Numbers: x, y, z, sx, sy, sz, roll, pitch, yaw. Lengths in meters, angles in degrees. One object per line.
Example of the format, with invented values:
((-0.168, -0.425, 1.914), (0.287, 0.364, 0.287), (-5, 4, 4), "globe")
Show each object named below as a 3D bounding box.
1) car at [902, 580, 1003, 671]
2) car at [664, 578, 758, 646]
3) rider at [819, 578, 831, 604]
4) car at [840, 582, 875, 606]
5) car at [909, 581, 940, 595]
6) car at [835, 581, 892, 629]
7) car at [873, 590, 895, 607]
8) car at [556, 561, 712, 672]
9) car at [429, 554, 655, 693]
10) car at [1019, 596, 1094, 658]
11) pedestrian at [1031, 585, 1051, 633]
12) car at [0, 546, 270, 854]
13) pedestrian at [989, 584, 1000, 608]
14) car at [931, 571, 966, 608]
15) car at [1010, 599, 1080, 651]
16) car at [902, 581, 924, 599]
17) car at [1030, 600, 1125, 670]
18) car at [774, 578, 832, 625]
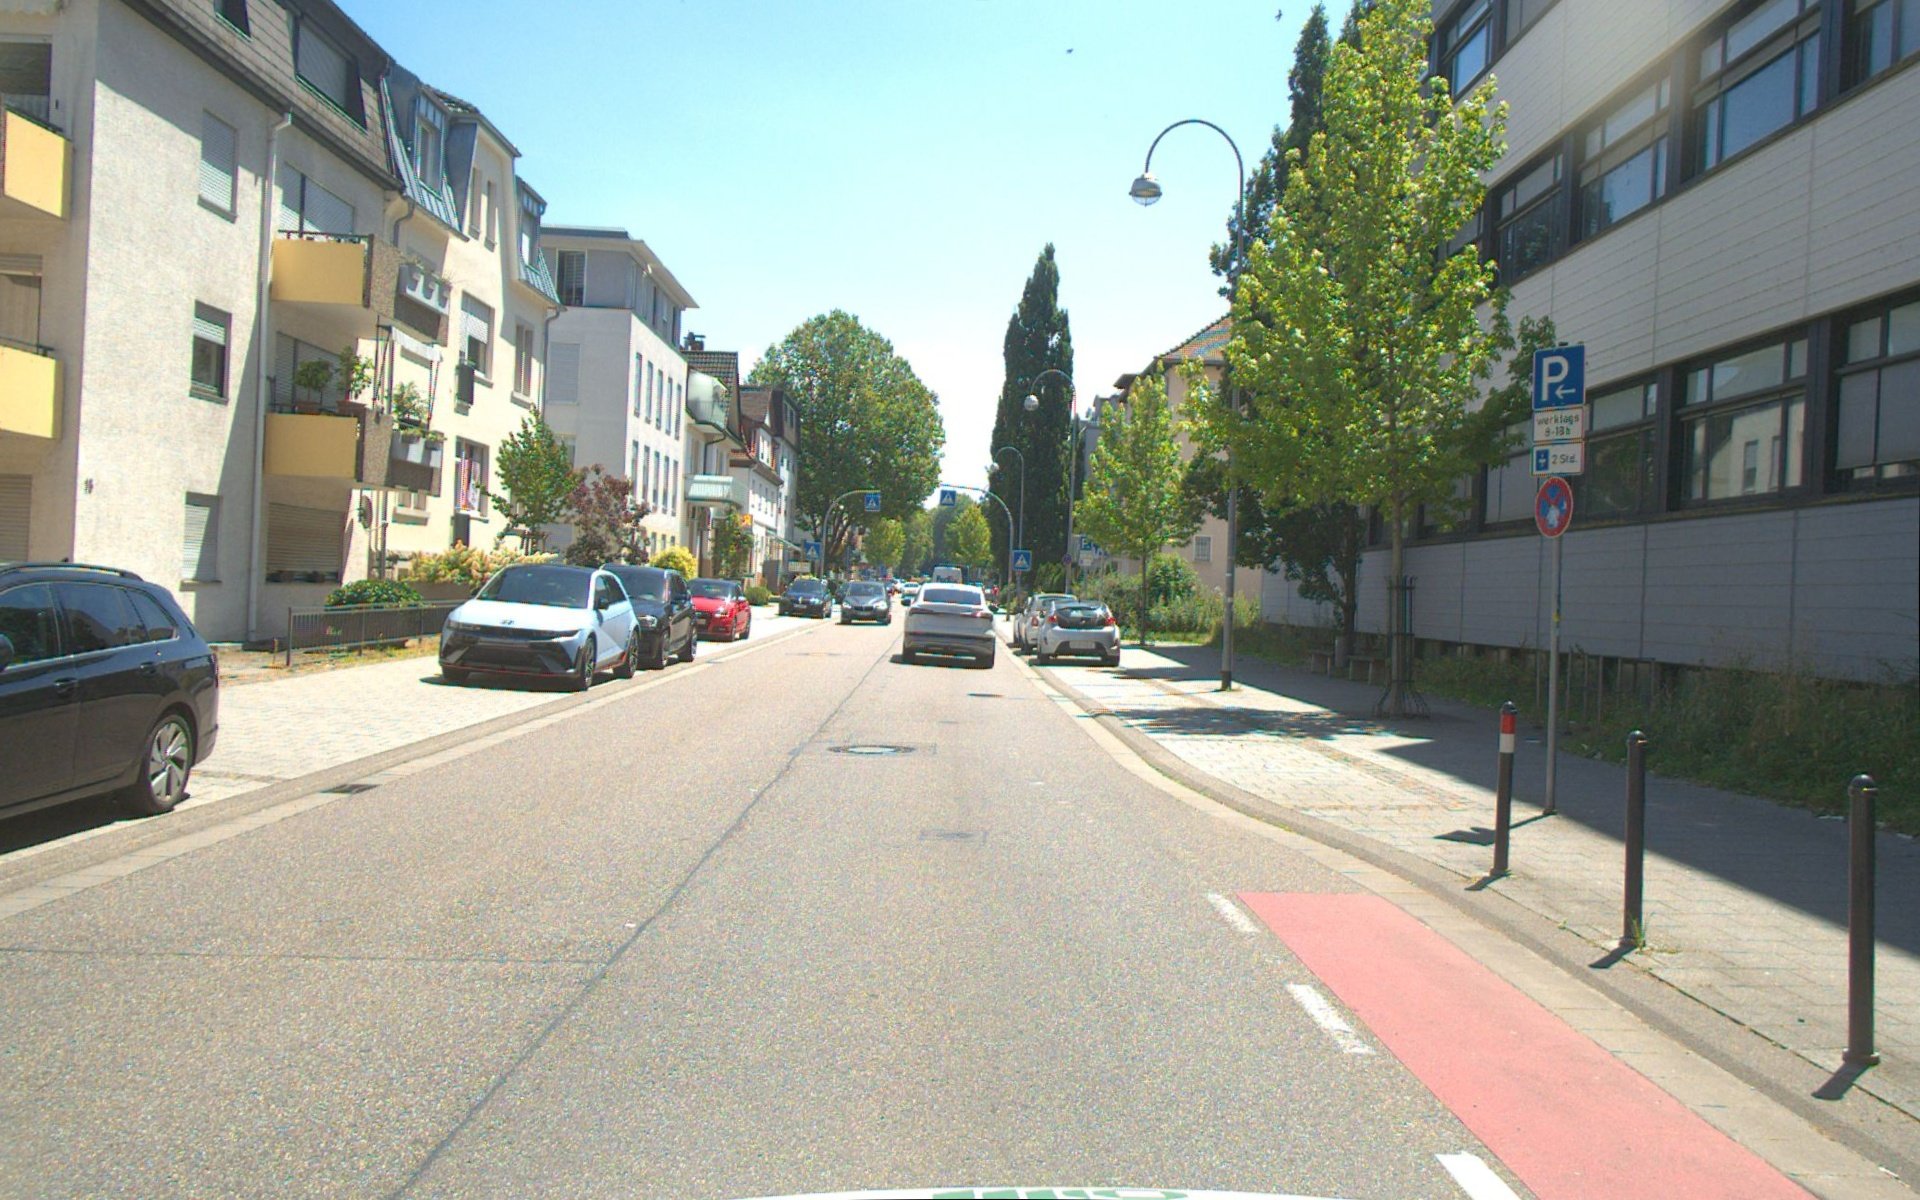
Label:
((-0.150, 0.502, 35.005), (1.897, 1.642, 4.471), (5, 0, 0), "car")
((-6.030, 0.273, 40.442), (1.616, 1.443, 3.905), (5, 0, 0), "car")
((-8.458, -0.572, 103.914), (0.648, 1.580, 0.661), (2, 0, -1), "rider")
((-6.286, -0.373, 101.712), (1.953, 1.373, 3.999), (2, 0, -1), "car")
((-4.863, -1.607, 226.009), (3.903, 1.679, 2.001), (2, 0, 6), "car")
((-3.600, 0.178, 62.342), (1.934, 1.700, 4.470), (2, 0, -2), "car")
((-7.306, -0.127, 159.959), (1.953, 1.546, 3.999), (2, 0, -1), "car")
((-5.634, 0.270, 29.145), (1.690, 1.647, 4.571), (5, 0, 0), "car")
((-5.750, 0.302, 23.379), (1.887, 1.600, 4.659), (5, 0, 0), "car")
((2.480, 0.662, 43.317), (1.625, 1.514, 4.344), (1, 0, -1), "car")
((3.045, 0.340, 62.143), (0.625, 1.789, 0.616), (2, 0, -5), "pedestrian")
((-5.660, 0.448, 8.819), (1.887, 1.461, 4.659), (5, 0, 0), "car")
((2.561, -0.299, 122.065), (0.680, 1.766, 0.667), (2, 0, -5), "pedestrian")
((-0.763, -0.647, 104.201), (2.028, 2.235, 5.136), (1, 0, -2), "car")
((2.425, 0.684, 48.069), (1.691, 1.407, 4.401), (1, 0, -1), "car")
((-4.316, -0.952, 152.944), (1.939, 1.546, 3.999), (2, 0, -1), "car")
((2.596, 0.757, 37.383), (1.824, 1.397, 4.000), (3, 0, 0), "car")
((-6.370, 0.059, 67.720), (1.886, 1.750, 4.471), (2, 0, 0), "car")
